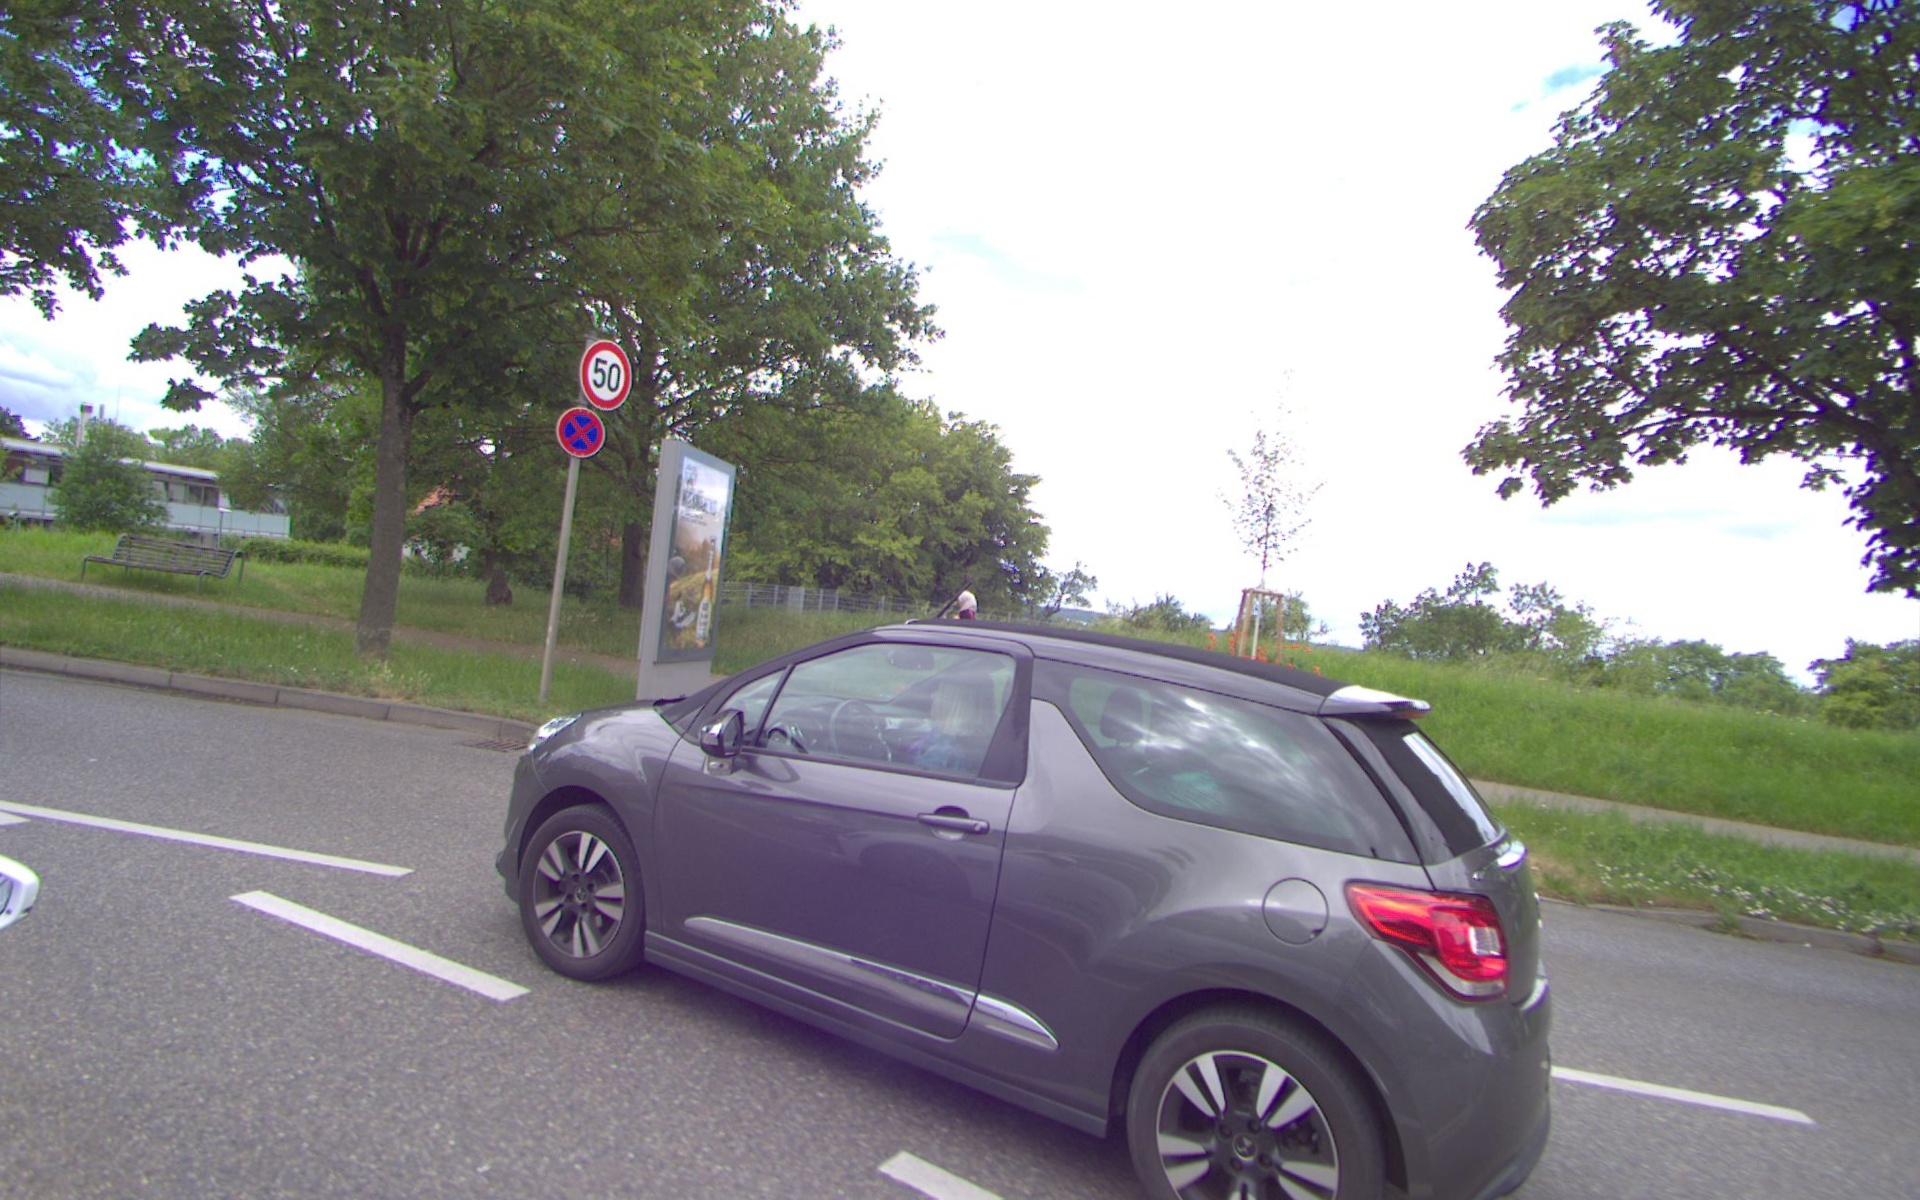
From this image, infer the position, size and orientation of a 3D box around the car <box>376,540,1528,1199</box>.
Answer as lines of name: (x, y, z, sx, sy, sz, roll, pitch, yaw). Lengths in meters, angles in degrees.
car: (-0.200, 0.768, 3.864, 3.994, 1.478, 1.704, 7, -1, 31)

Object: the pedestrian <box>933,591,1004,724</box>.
pedestrian: (0.114, 0.749, 13.346, 0.689, 1.627, 0.542, 8, 6, 7)
